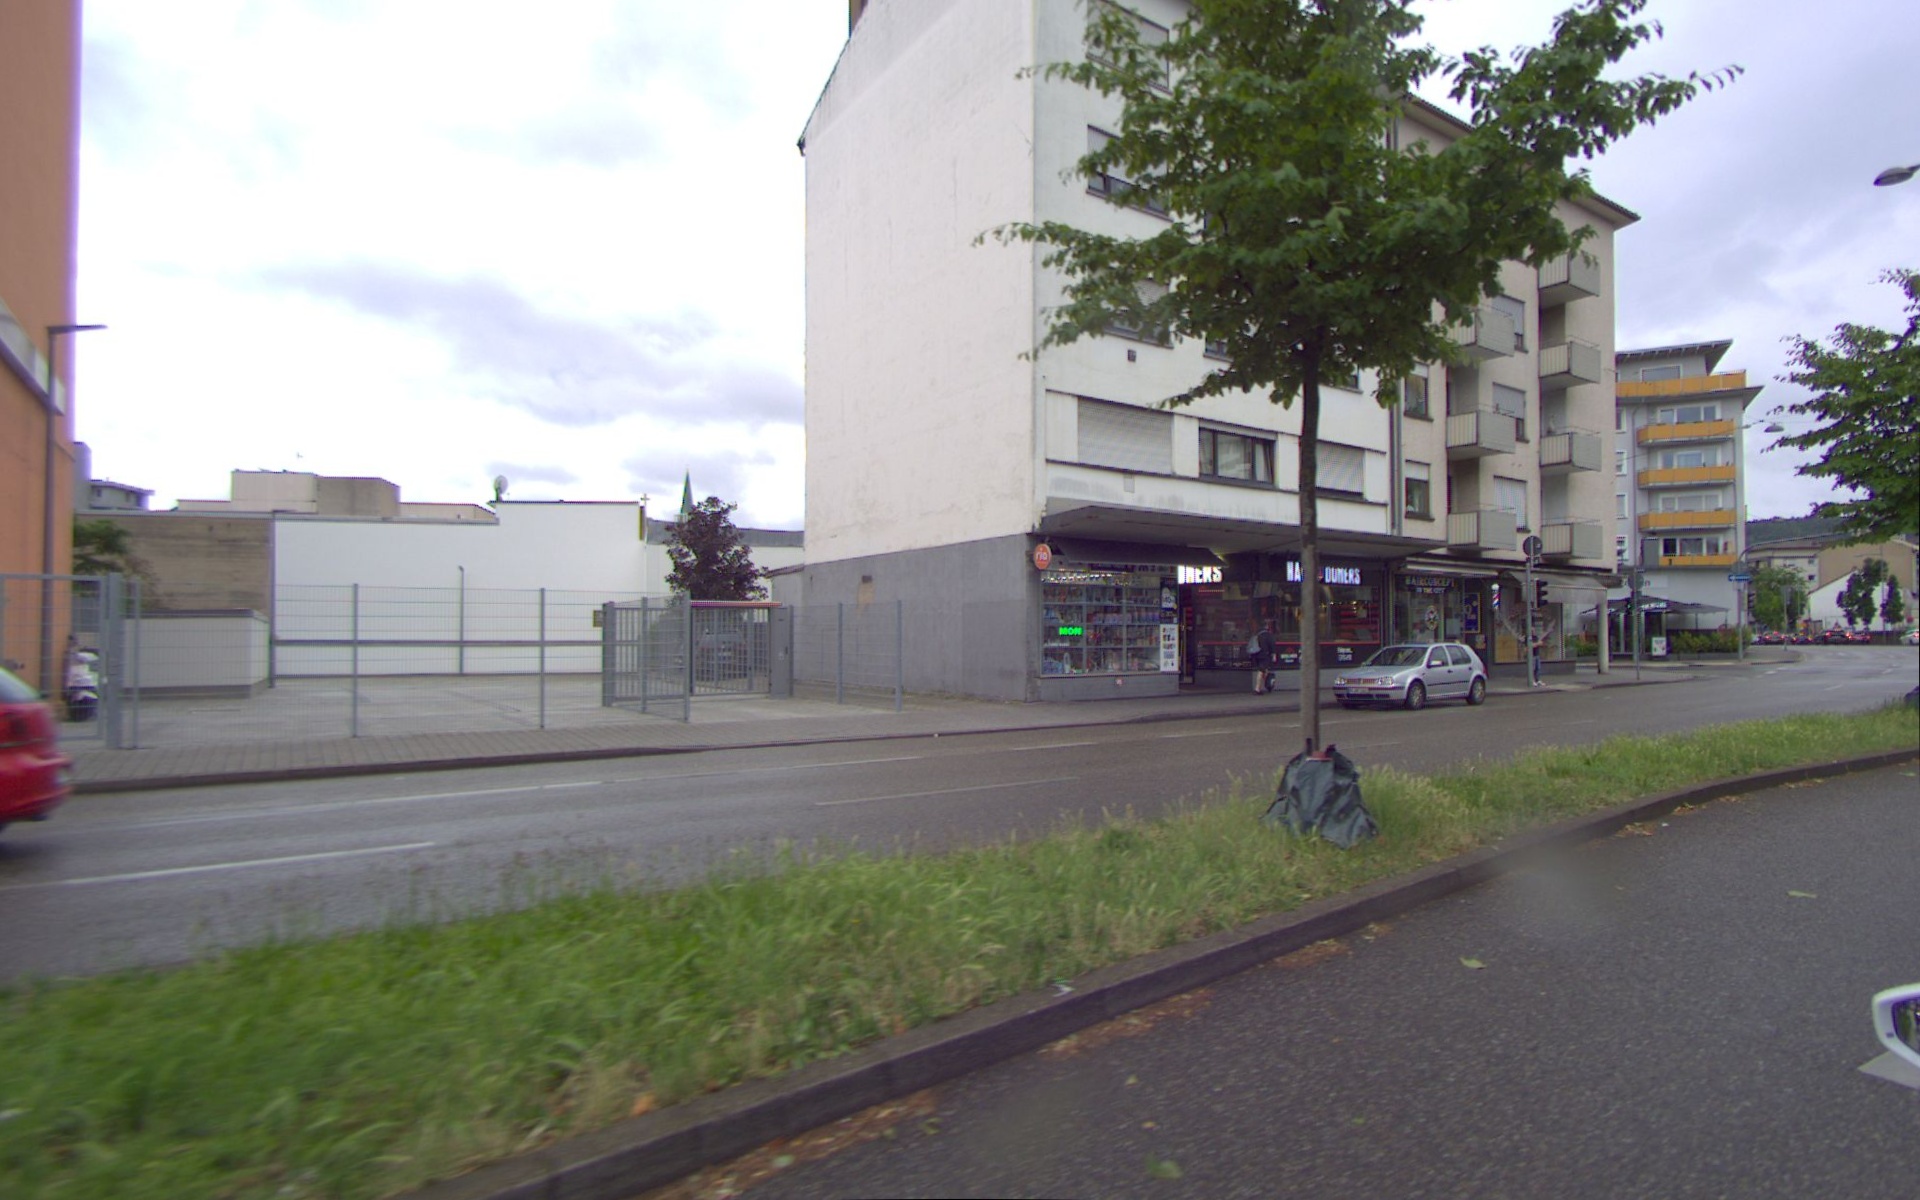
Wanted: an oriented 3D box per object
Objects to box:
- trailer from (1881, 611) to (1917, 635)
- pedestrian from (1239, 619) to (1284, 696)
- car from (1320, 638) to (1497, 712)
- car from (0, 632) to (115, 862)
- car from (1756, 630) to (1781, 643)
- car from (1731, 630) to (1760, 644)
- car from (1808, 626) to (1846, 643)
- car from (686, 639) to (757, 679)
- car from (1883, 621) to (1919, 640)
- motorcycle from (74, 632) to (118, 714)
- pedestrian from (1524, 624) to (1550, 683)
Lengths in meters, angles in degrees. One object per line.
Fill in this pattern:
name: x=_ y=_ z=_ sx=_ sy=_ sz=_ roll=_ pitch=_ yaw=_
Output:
trailer: x=115.963 y=2.881 z=124.094 sx=2.098 sy=2.751 sz=5.378 roll=-4 pitch=-4 yaw=32
pedestrian: x=7.166 y=1.353 z=23.893 sx=0.653 sy=1.753 sz=0.773 roll=0 pitch=2 yaw=-31
car: x=10.022 y=1.635 z=22.336 sx=4.110 sy=1.410 sz=1.666 roll=0 pitch=-4 yaw=-35
car: x=-7.776 y=0.951 z=6.078 sx=3.907 sy=1.448 sz=1.593 roll=1 pitch=-5 yaw=-36
car: x=94.533 y=4.302 z=117.509 sx=1.641 sy=1.415 sz=3.859 roll=-2 pitch=-1 yaw=30
car: x=86.540 y=4.101 z=110.723 sx=1.707 sy=1.458 sz=4.407 roll=-3 pitch=-3 yaw=29
car: x=81.131 y=3.234 z=94.038 sx=1.639 sy=1.415 sz=3.863 roll=-2 pitch=-1 yaw=25
car: x=-8.256 y=1.986 z=34.524 sx=1.684 sy=1.283 sz=3.747 roll=0 pitch=-2 yaw=-25
car: x=76.136 y=2.432 z=80.359 sx=1.636 sy=1.415 sz=3.869 roll=-2 pitch=-1 yaw=13
motorcycle: x=-16.273 y=1.381 z=18.932 sx=0.392 sy=1.480 sz=1.456 roll=1 pitch=-5 yaw=-32
pedestrian: x=17.432 y=1.612 z=30.346 sx=0.518 sy=1.754 sz=0.450 roll=0 pitch=2 yaw=-30
